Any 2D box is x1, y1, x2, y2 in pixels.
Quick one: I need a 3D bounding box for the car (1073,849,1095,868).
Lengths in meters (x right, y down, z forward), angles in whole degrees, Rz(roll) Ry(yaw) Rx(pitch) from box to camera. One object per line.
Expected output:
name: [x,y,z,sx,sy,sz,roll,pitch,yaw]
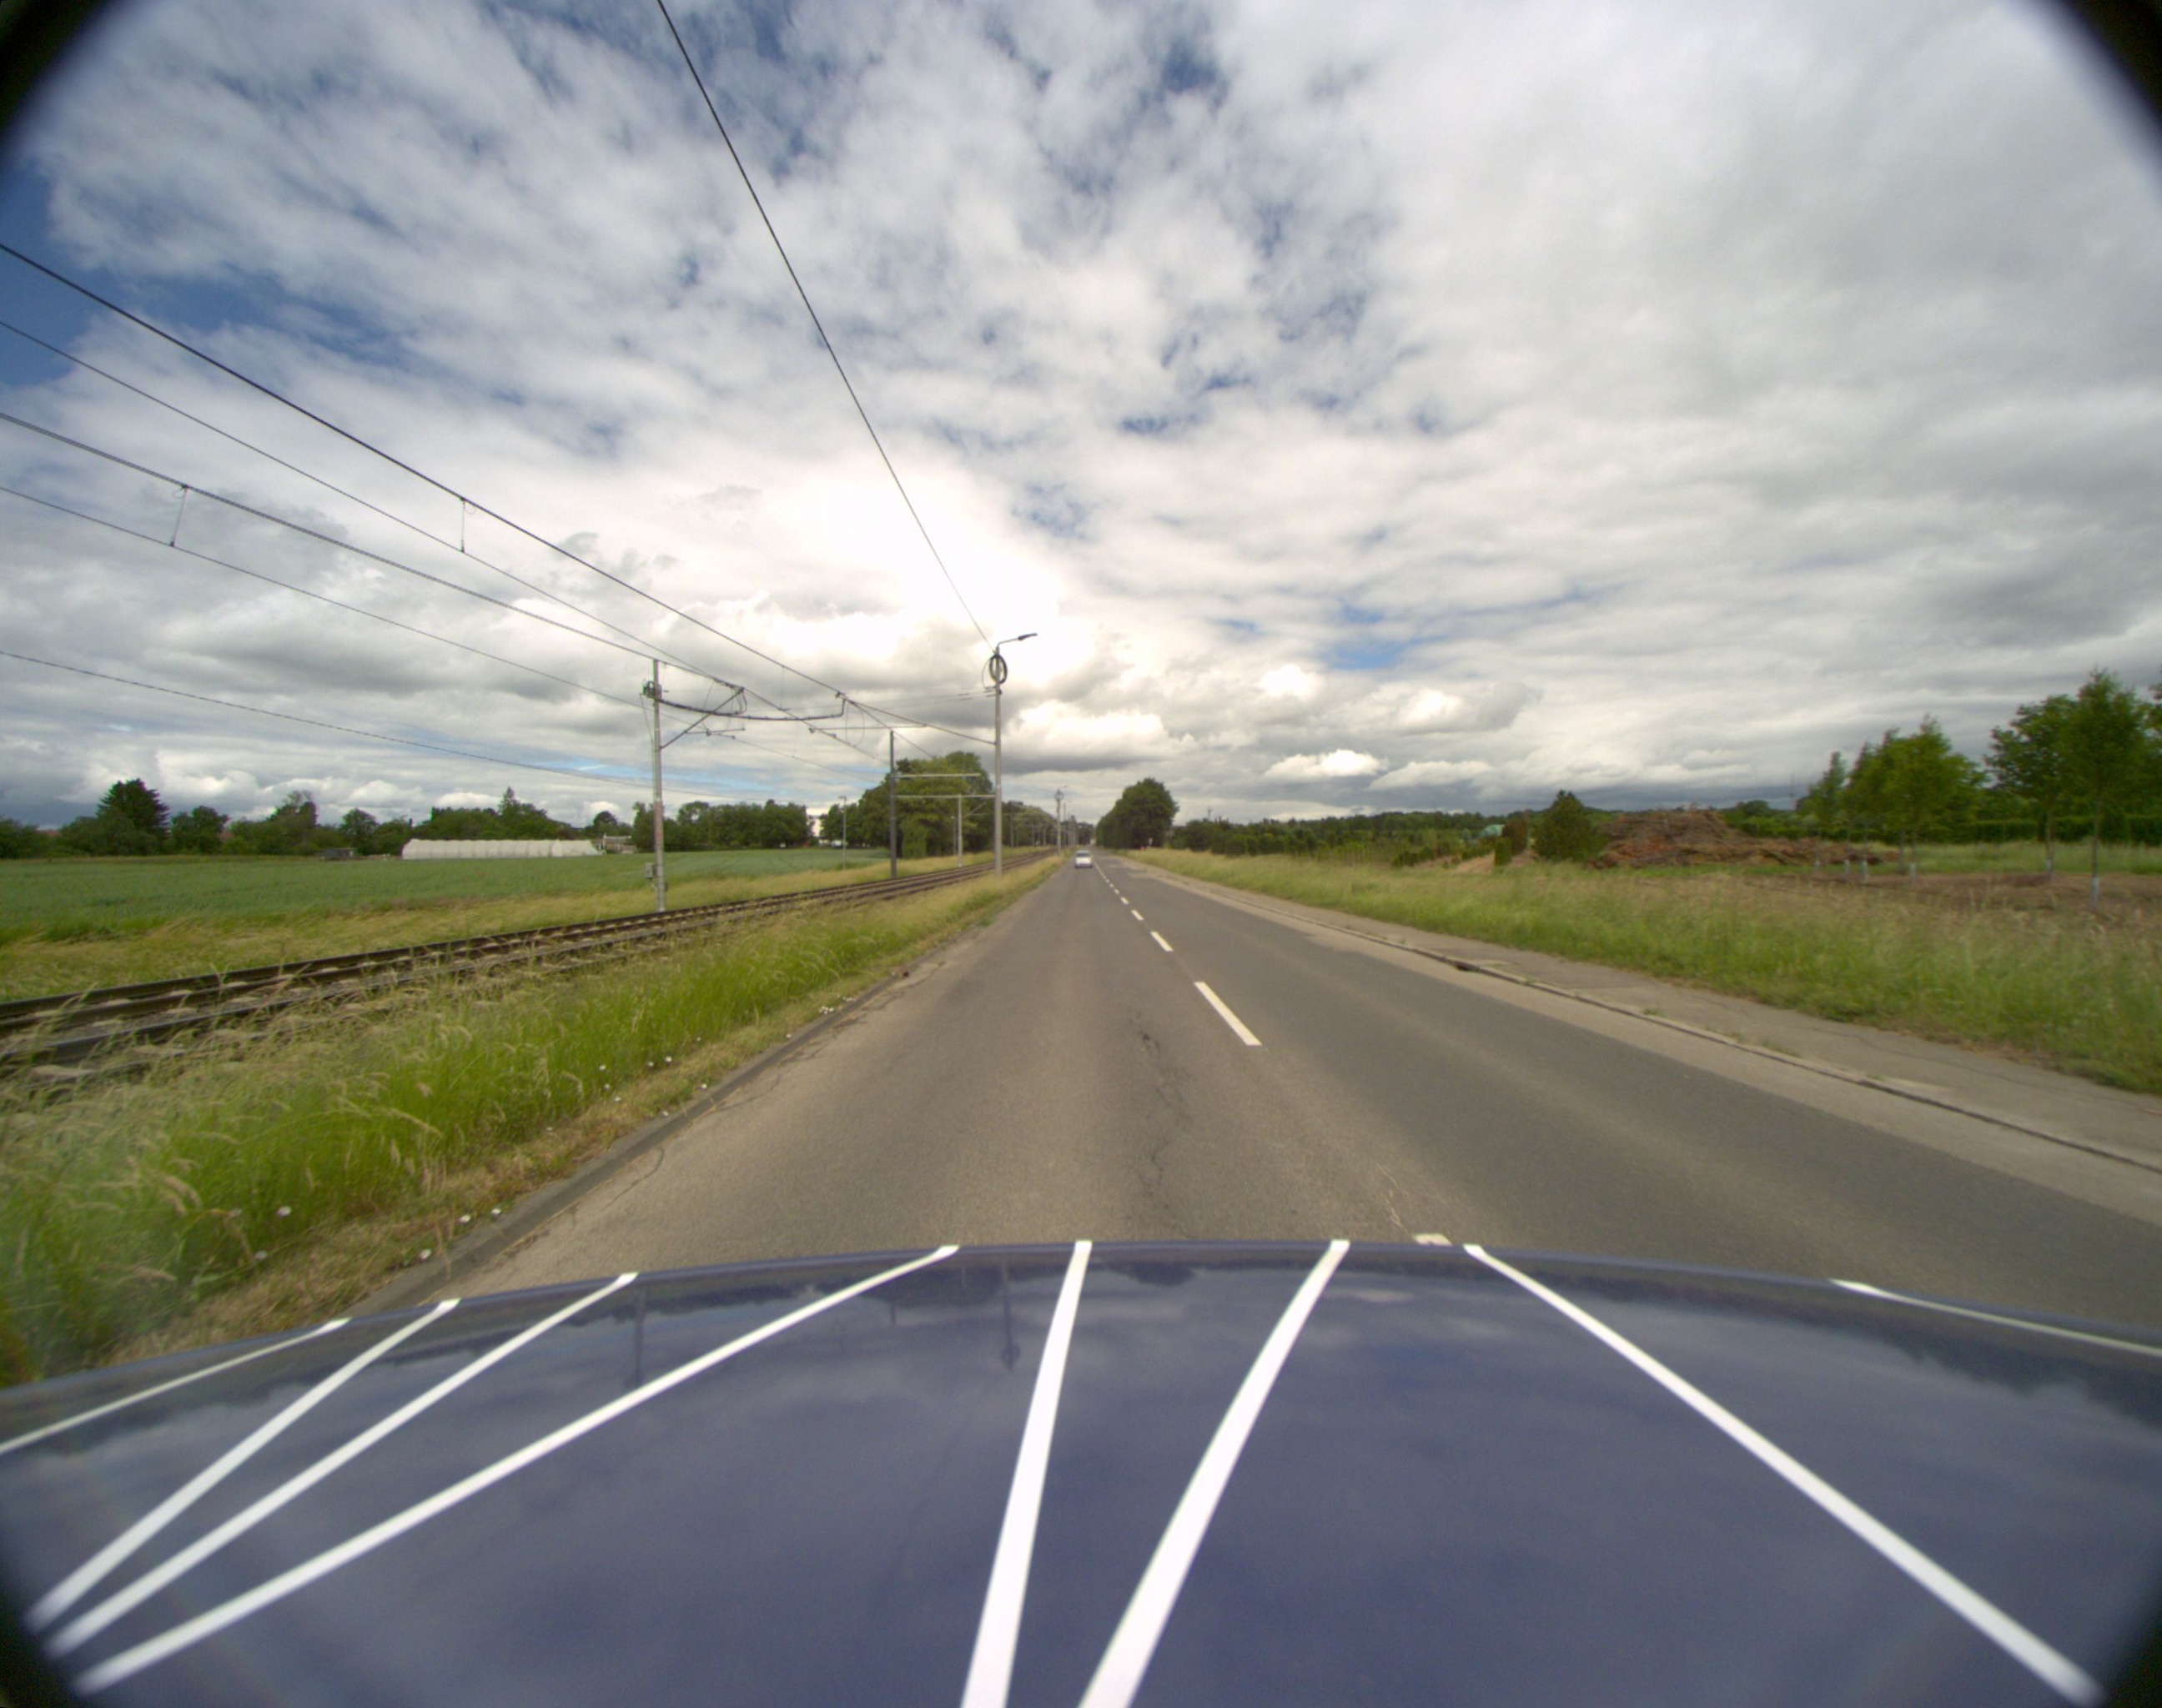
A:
car: [0.251,0.413,74.082,1.999,1.679,3.999,-2,1,-1]
